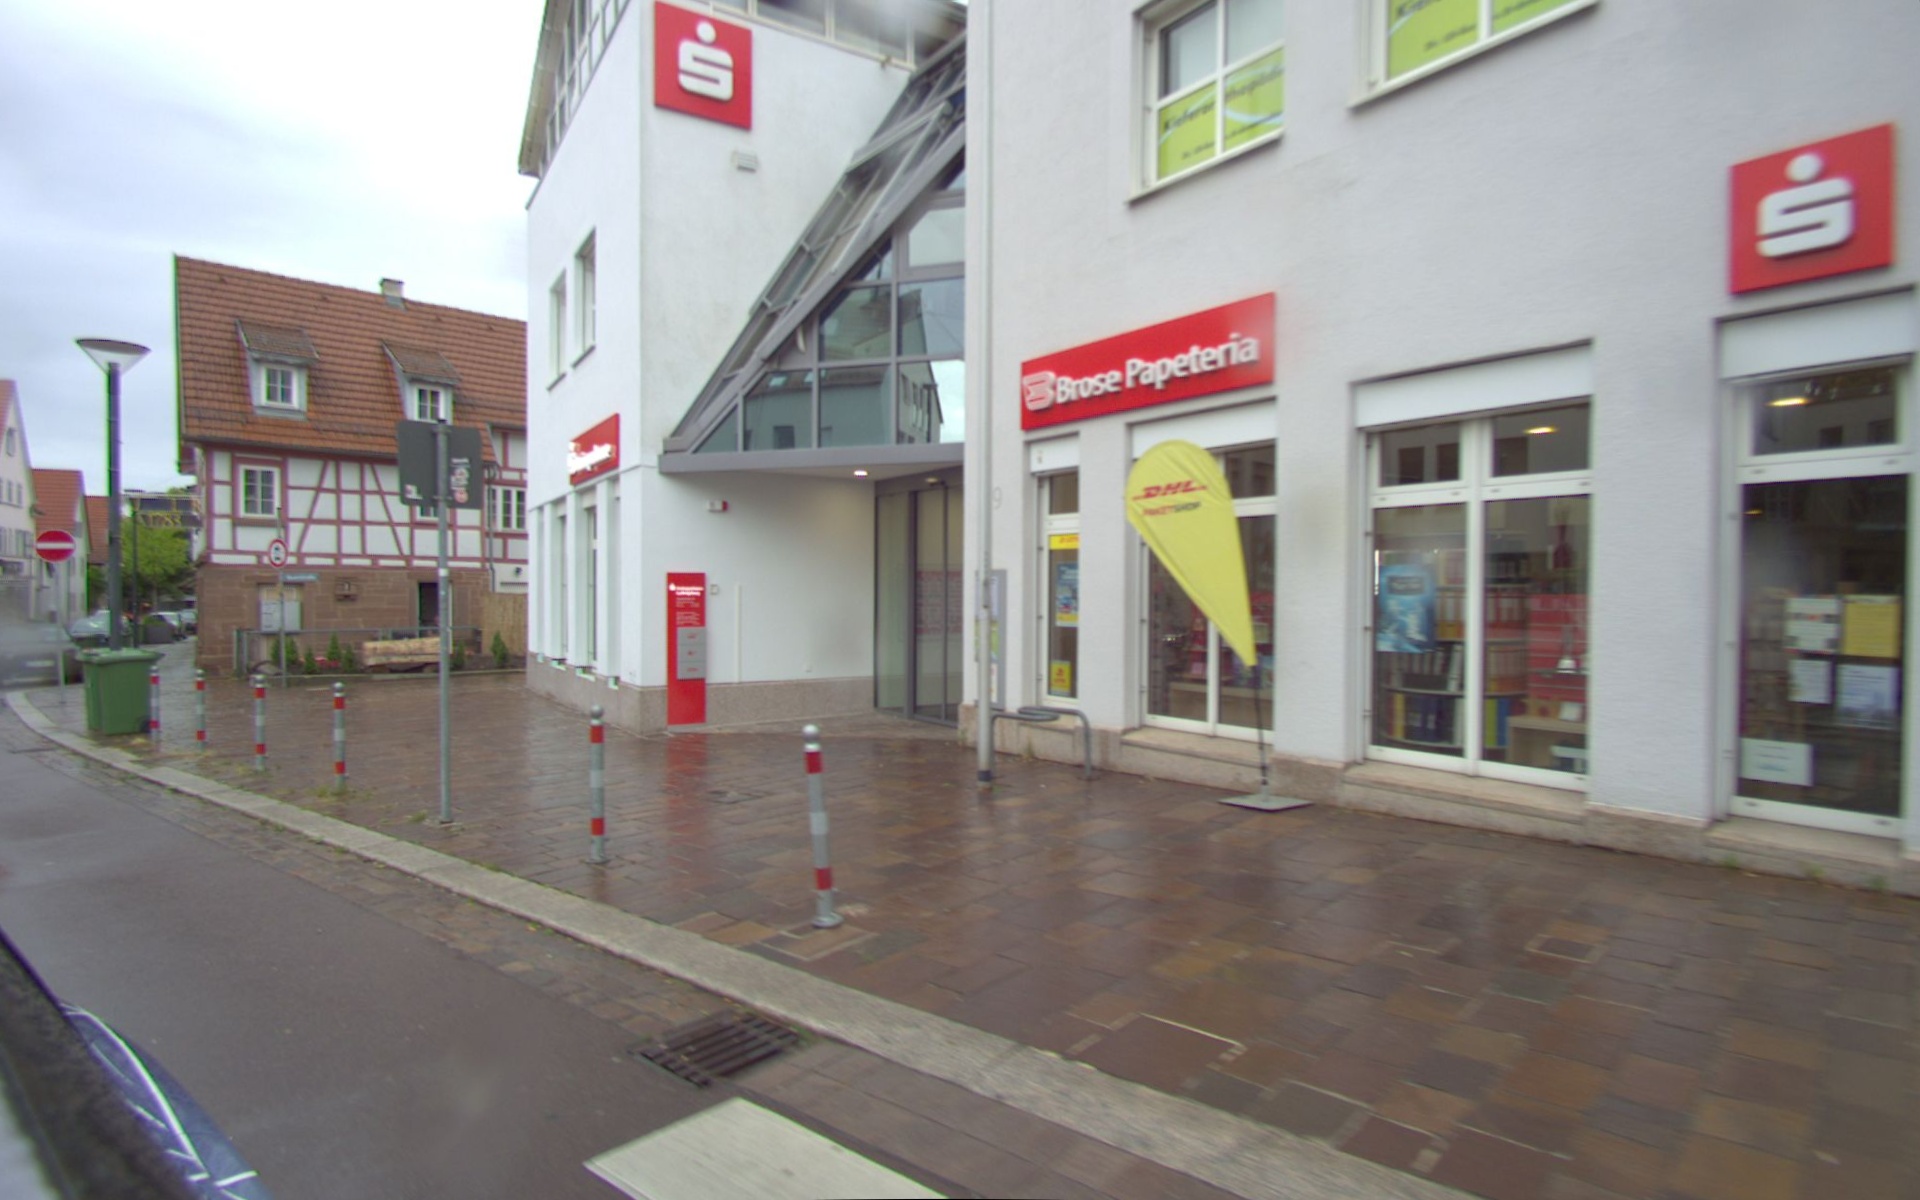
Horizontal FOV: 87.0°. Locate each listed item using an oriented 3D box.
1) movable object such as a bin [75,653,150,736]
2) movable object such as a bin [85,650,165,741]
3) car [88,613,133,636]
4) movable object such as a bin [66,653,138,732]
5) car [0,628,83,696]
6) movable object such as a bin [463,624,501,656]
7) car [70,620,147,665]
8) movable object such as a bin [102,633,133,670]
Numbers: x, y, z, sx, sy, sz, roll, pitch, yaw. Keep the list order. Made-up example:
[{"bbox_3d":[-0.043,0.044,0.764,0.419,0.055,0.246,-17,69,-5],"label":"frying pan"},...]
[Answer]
[{"bbox_3d":[-11.593,1.278,13.841,0.644,1.059,0.688,-1,-1,41],"label":"movable object such as a bin"},{"bbox_3d":[-11.010,1.238,13.343,0.644,1.085,0.688,-1,2,41],"label":"movable object such as a bin"},{"bbox_3d":[-55.089,1.572,65.688,1.838,1.472,4.010,1,-1,-34],"label":"car"},{"bbox_3d":[-12.163,1.294,14.345,0.644,1.055,0.688,-1,-1,41],"label":"movable object such as a bin"},{"bbox_3d":[-23.147,1.481,25.132,1.782,1.453,4.003,-2,1,-45],"label":"car"},{"bbox_3d":[-13.059,1.079,27.671,0.755,0.863,0.700,-1,-1,41],"label":"movable object such as a bin"},{"bbox_3d":[-31.506,1.516,37.521,1.778,1.453,4.010,-2,1,-35],"label":"car"},{"bbox_3d":[-24.322,1.474,29.220,0.530,1.030,0.604,-1,-1,41],"label":"movable object such as a bin"}]
